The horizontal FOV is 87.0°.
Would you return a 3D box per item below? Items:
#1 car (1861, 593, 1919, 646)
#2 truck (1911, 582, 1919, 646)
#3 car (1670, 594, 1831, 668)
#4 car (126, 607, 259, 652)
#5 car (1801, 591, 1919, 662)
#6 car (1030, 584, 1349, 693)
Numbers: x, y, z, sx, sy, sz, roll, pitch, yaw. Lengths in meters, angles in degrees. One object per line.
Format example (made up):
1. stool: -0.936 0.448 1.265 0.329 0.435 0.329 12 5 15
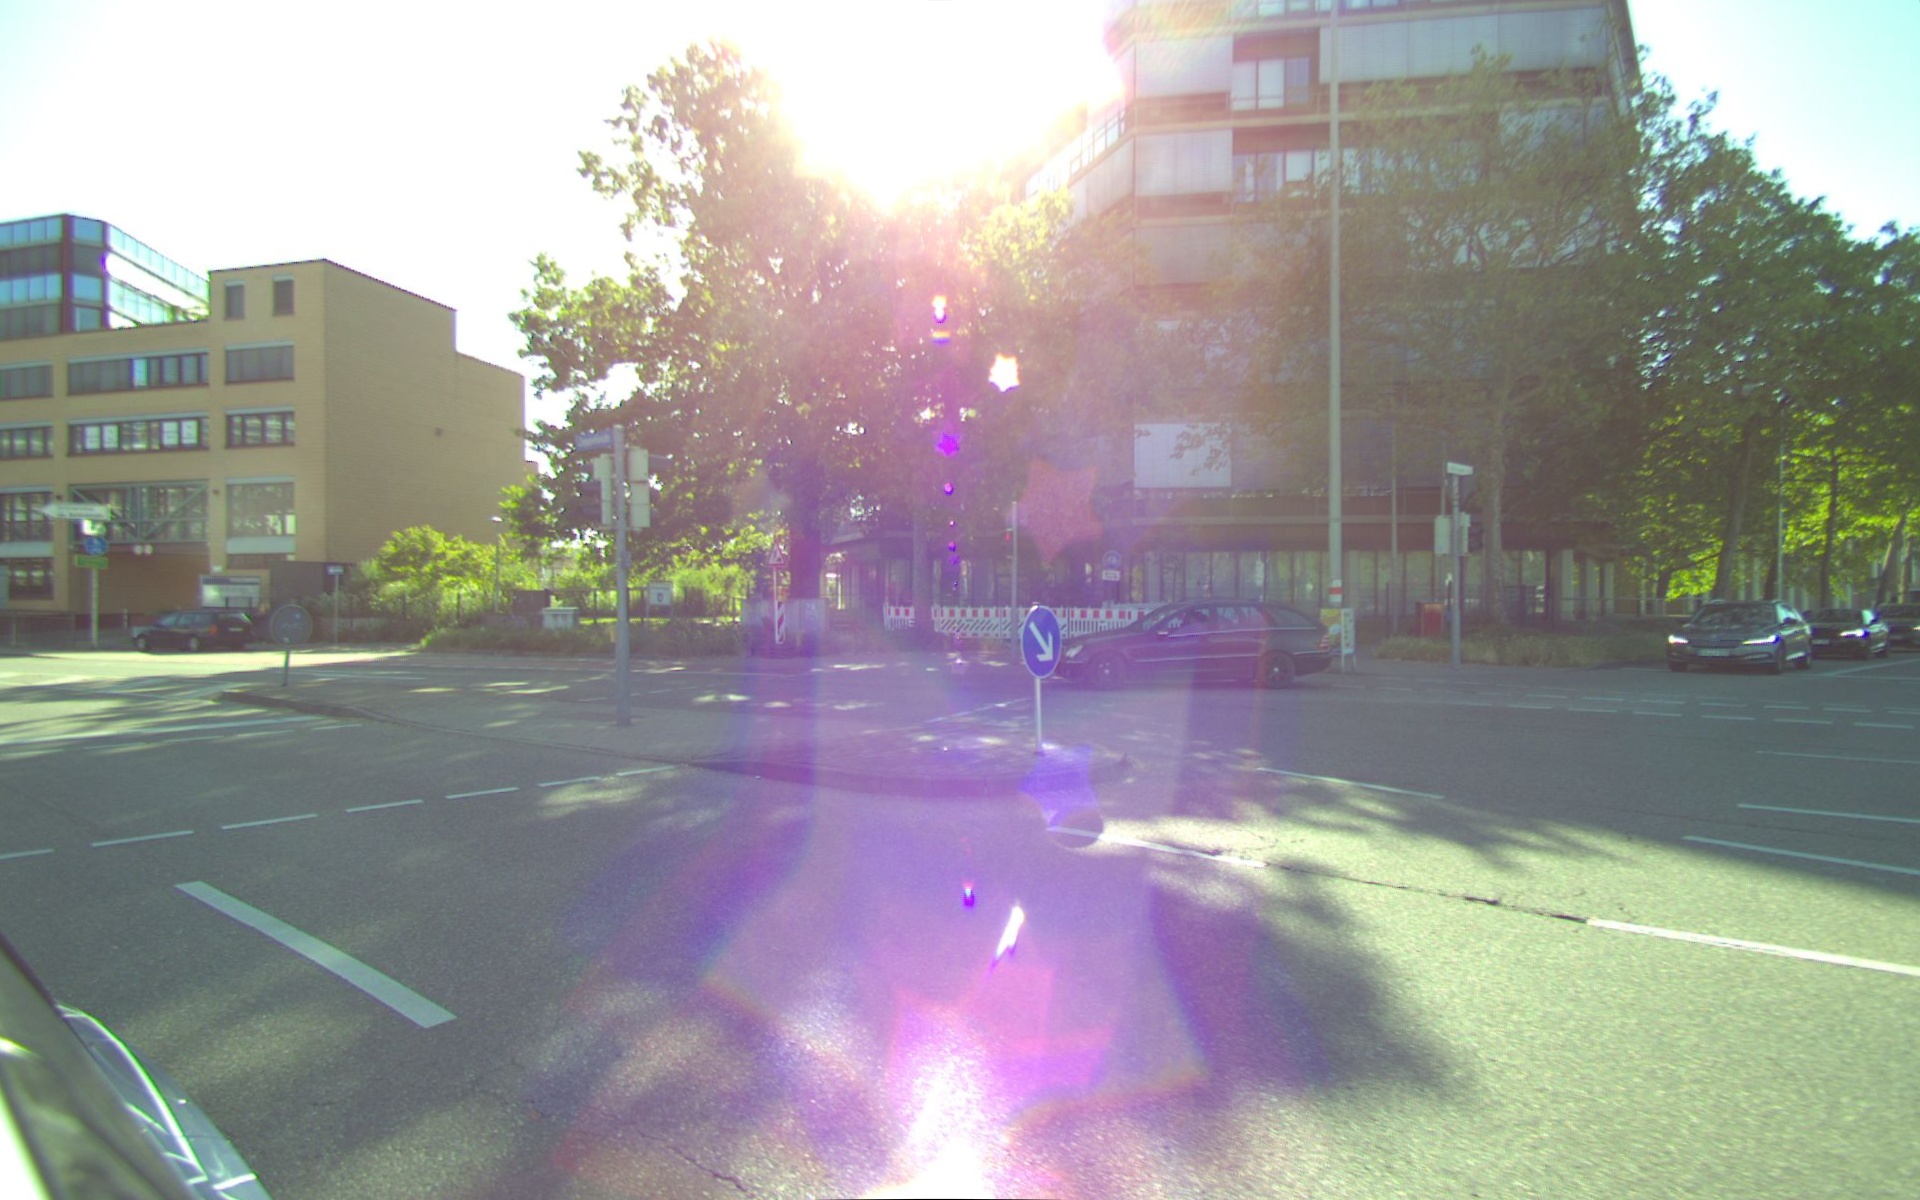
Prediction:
1. car: 31.299 0.594 33.026 4.435 1.657 1.885 -1 0 -36
2. truck: 39.357 0.493 39.306 7.391 2.378 2.169 -1 0 -36
3. car: 16.275 0.646 20.759 4.440 1.368 1.882 2 -3 -43
4. car: -27.622 1.094 36.449 4.343 1.520 1.650 -2 -2 18
5. car: 23.748 0.634 26.487 4.129 1.713 1.819 -1 0 -38
6. car: 3.606 0.595 16.571 4.716 1.633 1.952 -1 0 -1
